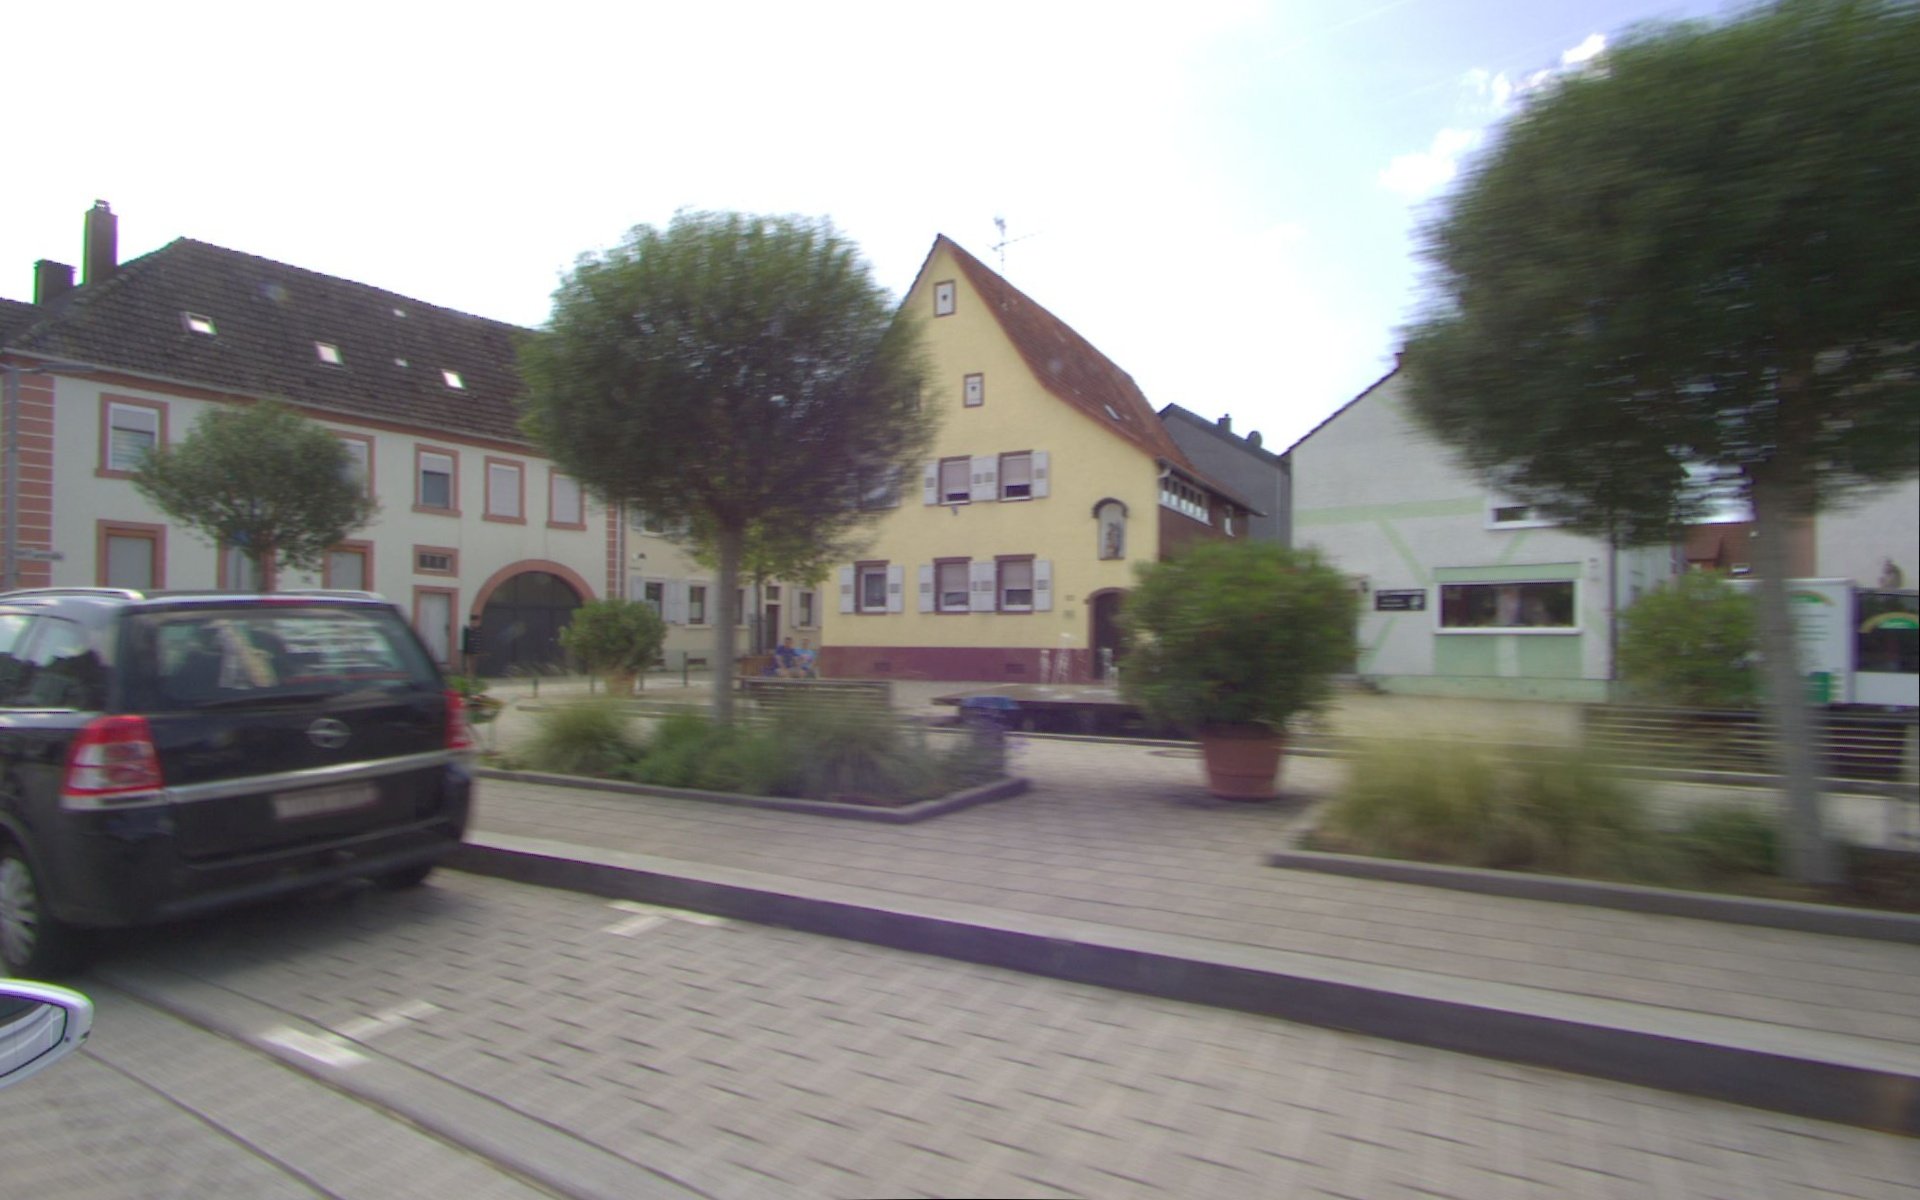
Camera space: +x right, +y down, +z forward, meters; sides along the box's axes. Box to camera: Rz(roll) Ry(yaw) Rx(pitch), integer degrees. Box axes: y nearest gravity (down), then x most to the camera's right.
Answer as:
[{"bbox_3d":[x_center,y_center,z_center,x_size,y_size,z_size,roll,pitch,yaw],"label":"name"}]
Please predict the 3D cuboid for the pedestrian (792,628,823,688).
[{"bbox_3d":[-3.416,1.292,22.420,0.528,1.301,0.788,0,-1,-19],"label":"pedestrian"}]

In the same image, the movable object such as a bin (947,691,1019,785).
[{"bbox_3d":[0.207,1.184,8.707,0.386,0.742,0.564,0,-1,34],"label":"movable object such as a bin"}]

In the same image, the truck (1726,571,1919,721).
[{"bbox_3d":[17.656,0.877,20.213,2.925,2.530,6.768,-1,-2,42],"label":"truck"}]

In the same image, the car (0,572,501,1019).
[{"bbox_3d":[-4.613,0.716,5.480,4.356,1.585,1.764,-1,0,33],"label":"car"}]

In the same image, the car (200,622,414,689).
[{"bbox_3d":[-15.732,1.302,24.302,1.801,1.492,3.982,-1,-2,36],"label":"car"}]

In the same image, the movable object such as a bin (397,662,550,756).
[{"bbox_3d":[-5.059,1.101,10.412,1.414,0.877,0.734,-1,-2,28],"label":"movable object such as a bin"}]

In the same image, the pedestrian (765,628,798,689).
[{"bbox_3d":[-3.891,1.264,21.849,0.603,1.301,0.671,0,-1,-20],"label":"pedestrian"}]
